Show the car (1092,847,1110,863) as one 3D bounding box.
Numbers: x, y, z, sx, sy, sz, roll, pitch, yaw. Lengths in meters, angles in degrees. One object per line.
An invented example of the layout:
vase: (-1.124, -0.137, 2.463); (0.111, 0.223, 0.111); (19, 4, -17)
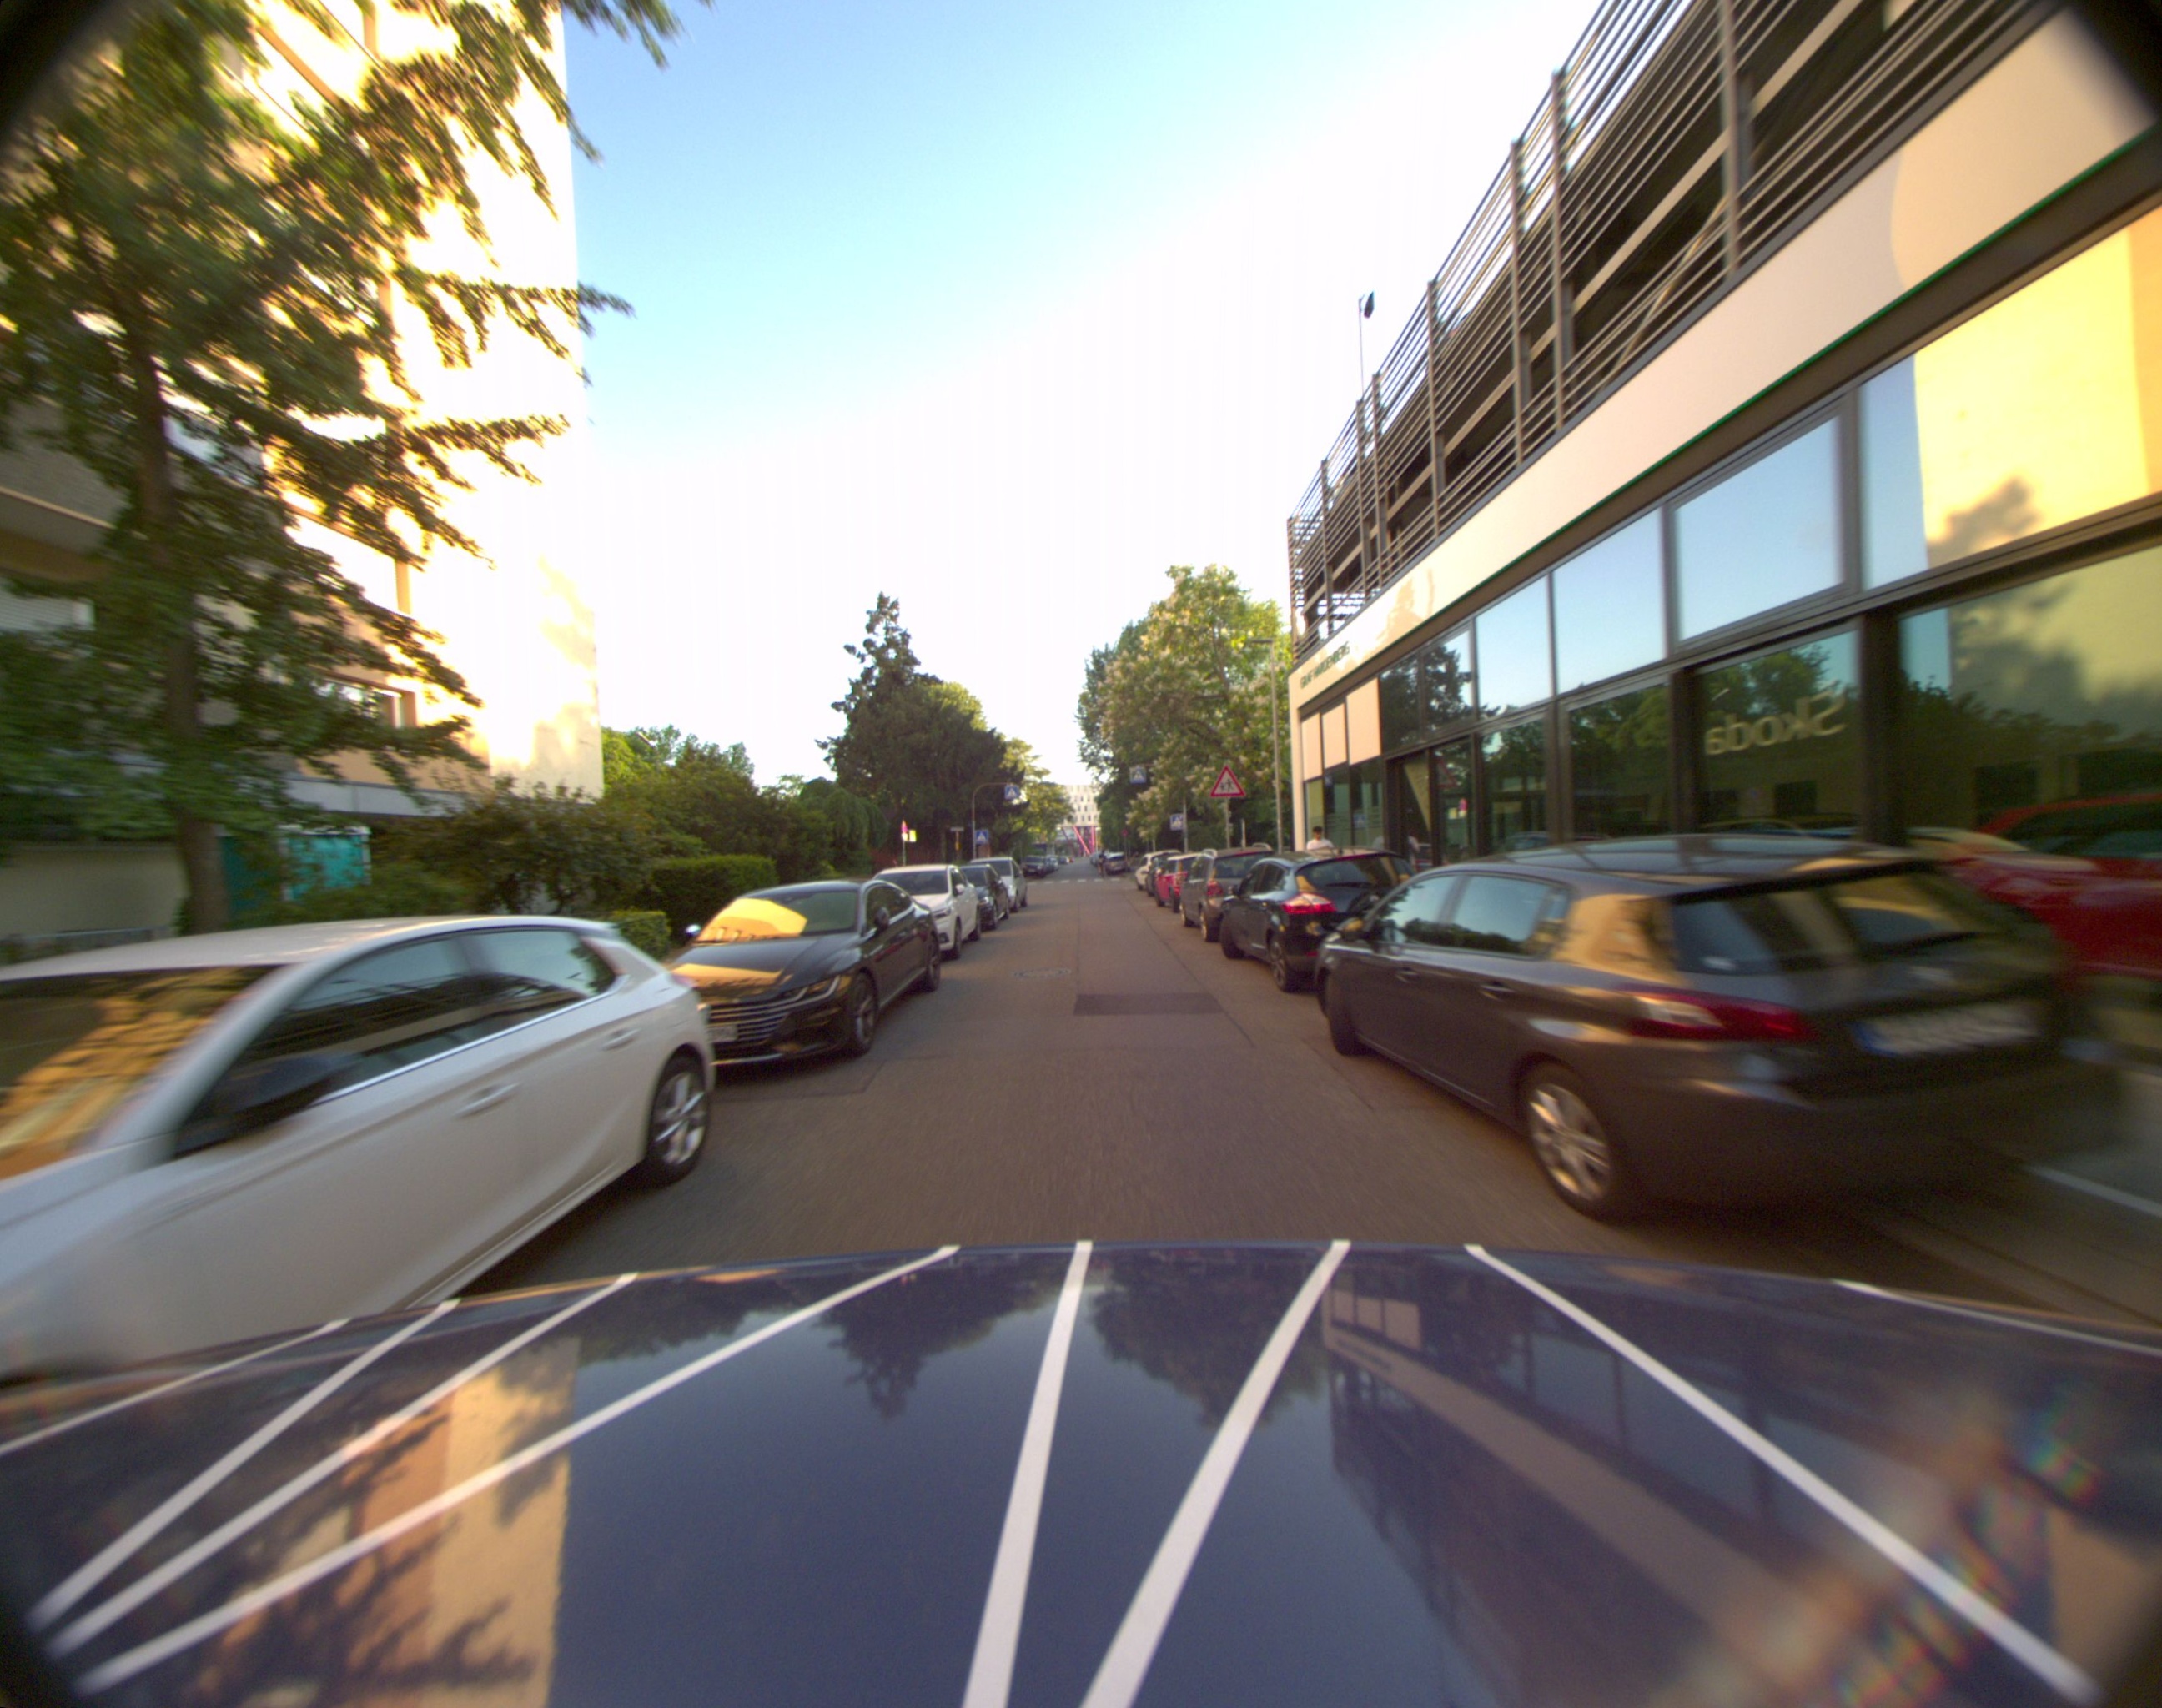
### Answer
car: (2.787, 0.128, 105.231); (1.964, 1.826, 3.883); (-8, 0, -2)

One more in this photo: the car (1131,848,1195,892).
car: (3.223, 0.615, 30.573); (1.666, 1.505, 3.883); (-6, 0, -6)

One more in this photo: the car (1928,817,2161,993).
car: (11.018, 0.451, 6.941); (1.702, 1.649, 4.325); (-2, 0, 0)

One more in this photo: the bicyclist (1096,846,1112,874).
bicyclist: (1.546, 0.416, 50.690); (0.861, 1.797, 1.016); (-2, 0, -5)

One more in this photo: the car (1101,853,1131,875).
car: (2.660, 0.737, 58.765); (1.786, 1.442, 3.883); (-8, 0, -2)

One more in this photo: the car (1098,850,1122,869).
car: (2.678, 0.486, 70.427); (1.786, 1.468, 3.883); (-8, 0, -2)

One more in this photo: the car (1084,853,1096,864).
car: (1.722, 0.831, 141.102); (1.786, 1.772, 4.011); (-8, 0, -2)

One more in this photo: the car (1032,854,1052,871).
car: (-3.582, 0.746, 70.194); (1.786, 1.491, 3.883); (1, 0, -2)

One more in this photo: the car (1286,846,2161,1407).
car: (2.674, 0.818, 4.325); (1.942, 1.587, 4.205); (-2, 0, 2)

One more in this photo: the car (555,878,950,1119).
car: (-2.610, 1.052, 7.439); (1.814, 1.408, 4.625); (-2, 0, 0)

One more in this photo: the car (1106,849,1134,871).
car: (3.204, 0.491, 63.447); (1.786, 1.568, 3.883); (-8, 0, -2)

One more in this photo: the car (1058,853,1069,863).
car: (-3.439, 0.832, 147.671); (1.999, 1.739, 3.999); (-3, 0, -2)

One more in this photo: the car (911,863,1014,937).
car: (-2.640, 0.978, 17.783); (1.721, 1.411, 4.027); (-2, 0, 0)

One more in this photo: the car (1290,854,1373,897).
car: (8.366, 0.676, 25.642); (1.597, 1.286, 3.451); (-2, 0, -1)

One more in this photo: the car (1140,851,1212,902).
car: (3.142, 0.707, 26.022); (1.666, 1.407, 4.413); (-8, 0, -1)

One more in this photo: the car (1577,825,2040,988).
car: (8.403, 0.509, 9.442); (1.702, 1.506, 4.192); (-2, 0, 0)

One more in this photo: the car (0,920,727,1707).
car: (-2.838, 1.130, 2.275); (1.614, 1.453, 4.054); (-2, 0, 0)

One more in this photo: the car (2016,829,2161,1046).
car: (8.397, 0.561, 4.128); (1.702, 1.506, 3.993); (-2, 0, 0)

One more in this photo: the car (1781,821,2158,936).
car: (14.406, 0.349, 12.736); (1.702, 1.552, 3.920); (-2, 0, 0)

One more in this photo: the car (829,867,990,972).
car: (-2.749, 0.988, 13.096); (1.814, 1.408, 3.896); (-2, 0, 0)

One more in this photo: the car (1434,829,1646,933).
car: (8.368, 0.438, 14.306); (1.597, 1.640, 3.876); (-2, 0, 0)

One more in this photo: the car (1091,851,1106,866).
car: (2.676, 0.655, 115.527); (1.786, 2.025, 3.883); (-8, 0, -2)

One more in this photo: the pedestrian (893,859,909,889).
pedestrian: (-10.333, 1.137, 43.604); (0.826, 1.716, 0.860); (1, 1, -19)

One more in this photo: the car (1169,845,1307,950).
car: (2.773, 0.704, 14.260); (1.666, 1.489, 3.884); (-8, 0, 1)

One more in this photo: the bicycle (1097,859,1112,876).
bicycle: (1.567, 0.897, 50.758); (0.761, 1.090, 1.863); (-1, 0, -6)

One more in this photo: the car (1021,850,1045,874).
car: (-3.654, 0.620, 58.522); (1.786, 1.743, 3.883); (0, 0, -2)

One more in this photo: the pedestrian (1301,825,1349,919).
pedestrian: (4.988, 0.362, 15.565); (0.723, 1.867, 0.620); (-2, 0, 1)

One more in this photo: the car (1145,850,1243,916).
car: (2.920, 0.717, 20.448); (1.666, 1.402, 3.926); (-7, 0, -3)

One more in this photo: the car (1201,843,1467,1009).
car: (2.776, 0.704, 9.392); (1.733, 1.395, 4.006); (-8, 0, -1)

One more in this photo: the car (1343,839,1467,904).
car: (8.533, 0.416, 20.368); (1.597, 1.514, 3.876); (-2, 0, 0)

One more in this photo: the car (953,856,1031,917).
car: (-2.547, 0.881, 22.551); (1.814, 1.566, 3.884); (-2, 0, 0)
